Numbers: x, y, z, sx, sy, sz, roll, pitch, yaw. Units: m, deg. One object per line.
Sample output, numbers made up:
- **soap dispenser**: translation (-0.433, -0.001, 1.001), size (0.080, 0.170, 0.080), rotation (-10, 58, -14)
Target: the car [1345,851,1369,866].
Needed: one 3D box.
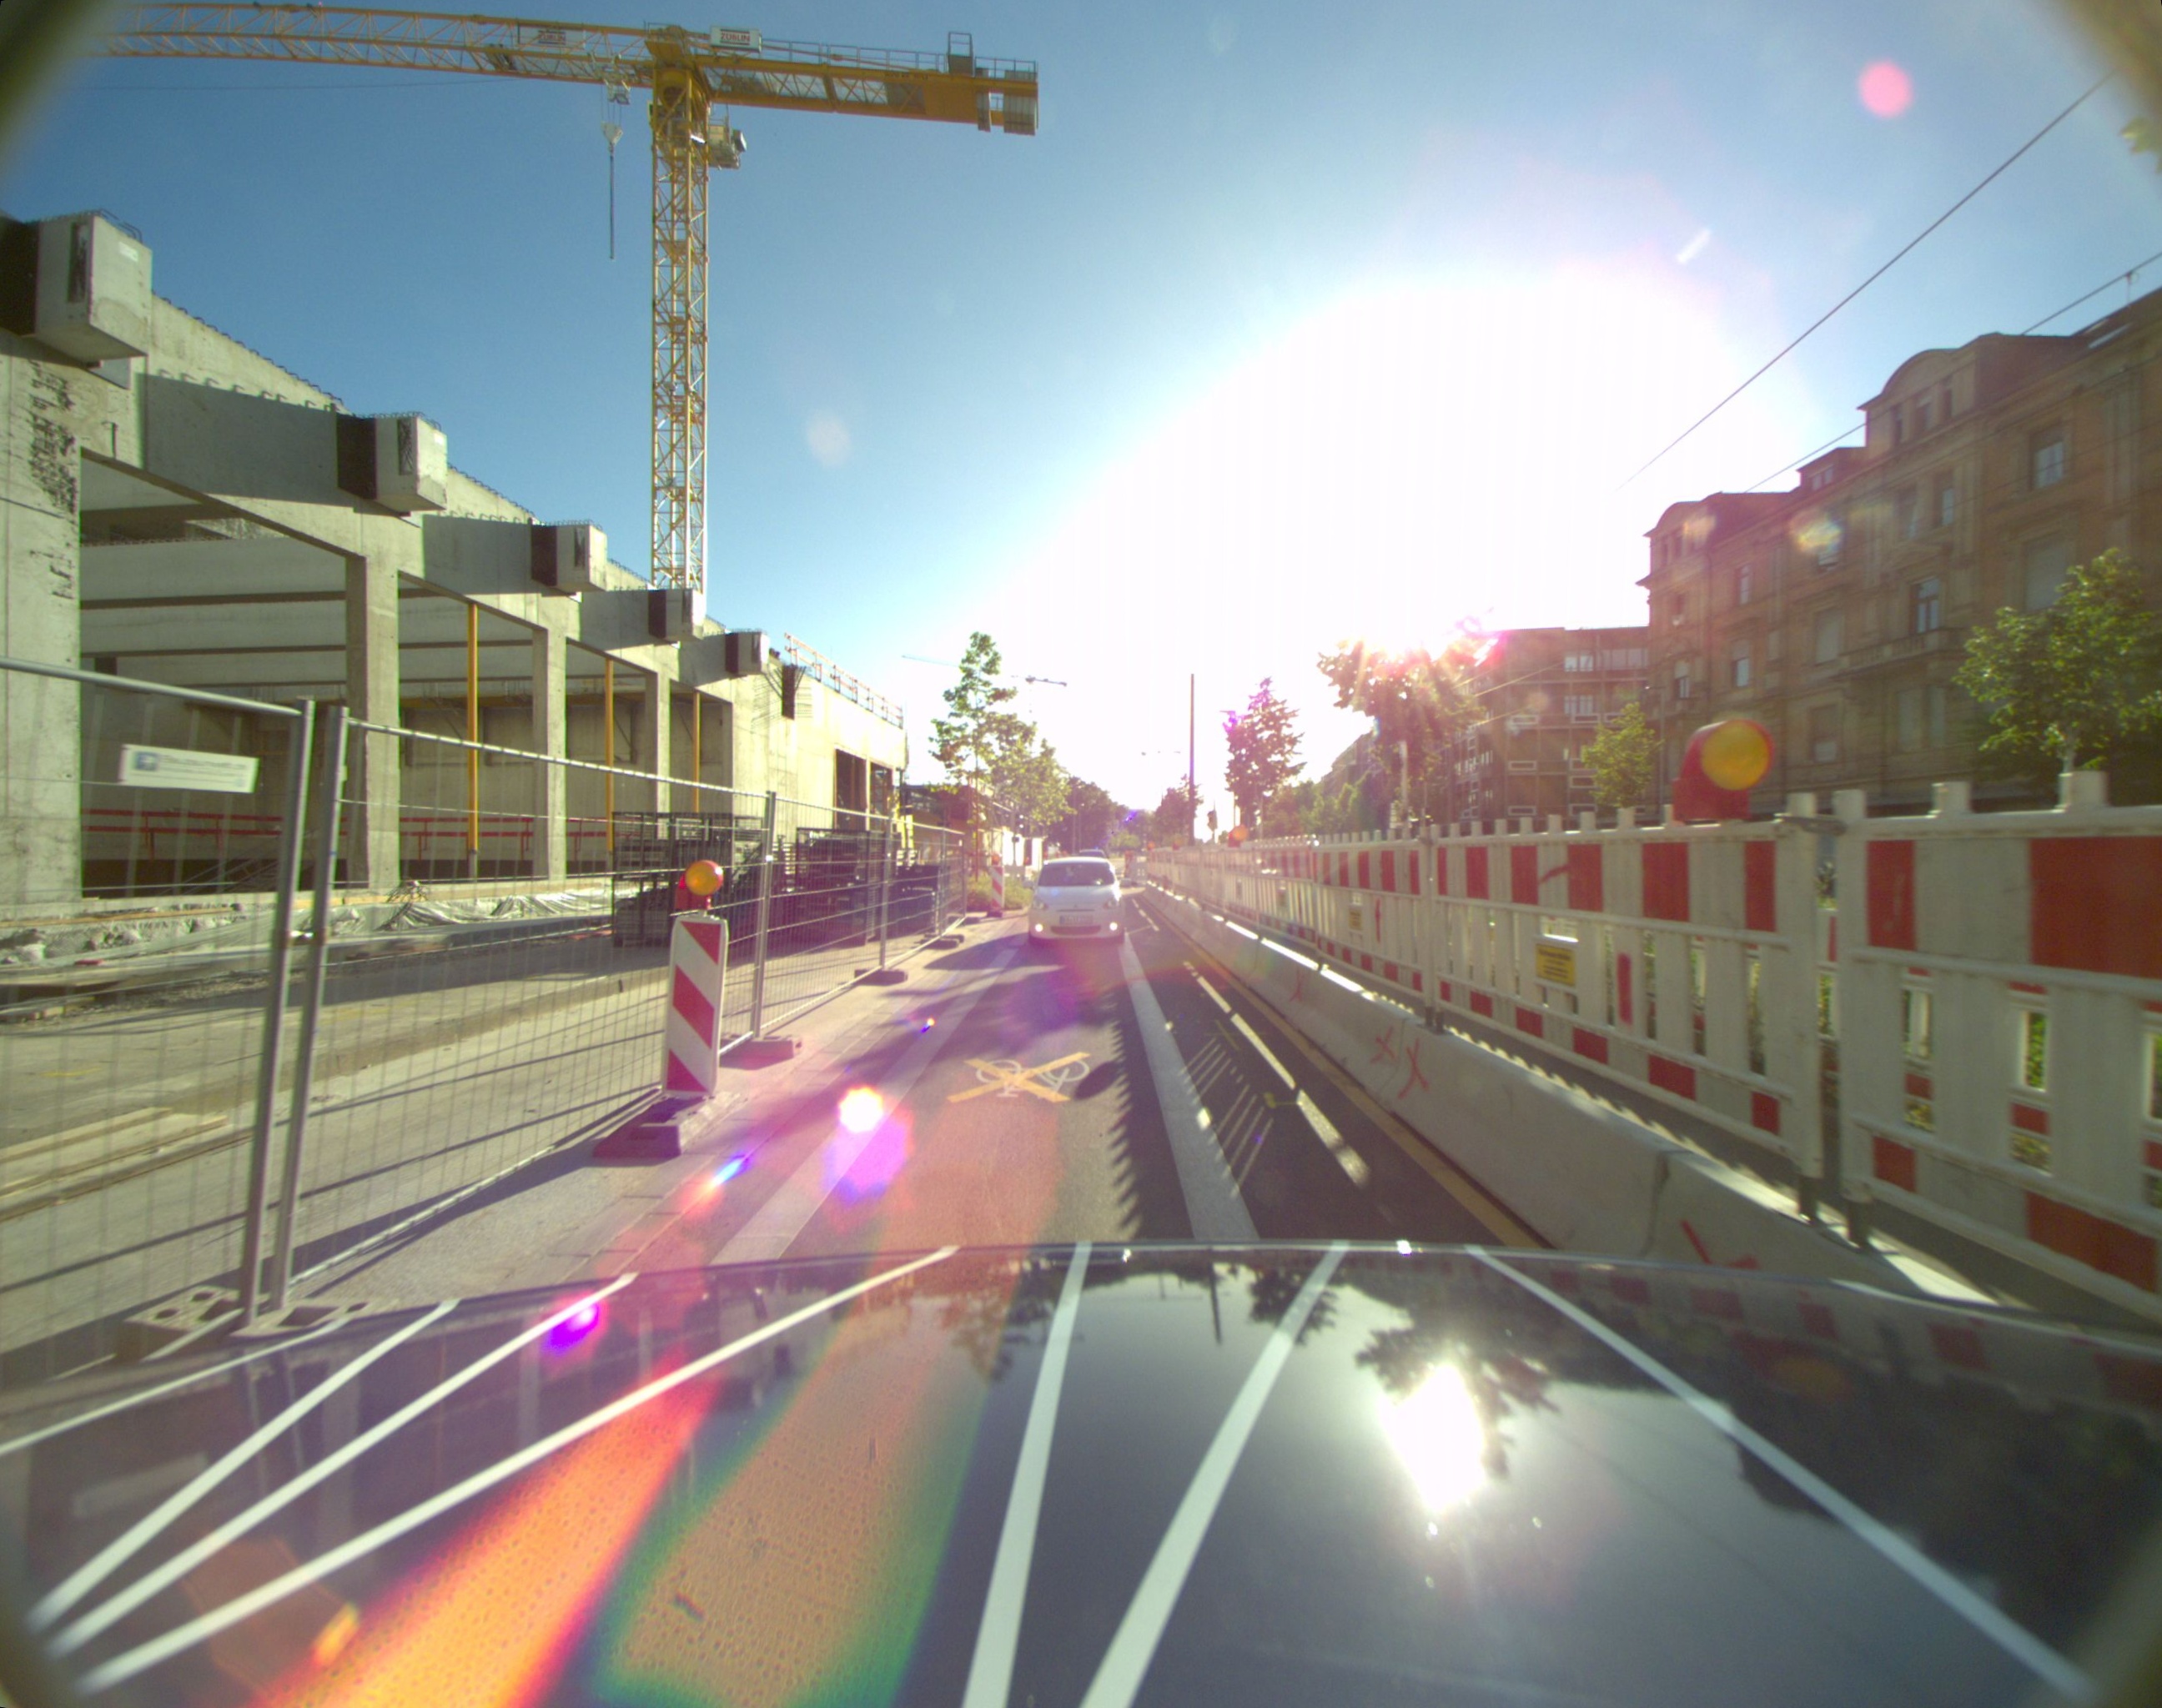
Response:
- **car**: translation (29.077, 0.457, 80.202), size (1.652, 1.545, 3.969), rotation (0, 0, 9)

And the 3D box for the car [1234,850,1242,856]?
- **car**: translation (43.694, -0.296, 211.252), size (1.731, 1.736, 4.123), rotation (0, 0, 7)

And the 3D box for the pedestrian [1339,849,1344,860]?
- **pedestrian**: translation (37.715, 0.123, 109.960), size (0.521, 1.569, 0.537), rotation (1, 1, 13)

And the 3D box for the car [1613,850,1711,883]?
- **car**: translation (34.719, 0.714, 45.464), size (4.522, 1.892, 1.898), rotation (1, 0, -3)

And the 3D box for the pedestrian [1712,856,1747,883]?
- **pedestrian**: translation (29.330, 0.713, 34.376), size (0.793, 1.201, 0.929), rotation (0, 1, 2)

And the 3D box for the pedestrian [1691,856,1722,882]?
- **pedestrian**: translation (29.712, 0.705, 36.114), size (0.692, 1.239, 0.929), rotation (0, 1, 3)

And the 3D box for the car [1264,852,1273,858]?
- **car**: translation (47.017, 0.274, 190.916), size (1.719, 1.379, 4.042), rotation (0, 0, 8)

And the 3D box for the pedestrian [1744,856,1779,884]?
- **pedestrian**: translation (29.773, 0.705, 33.247), size (0.692, 1.201, 0.929), rotation (0, 1, 3)

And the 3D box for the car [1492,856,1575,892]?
- **car**: translation (19.640, 0.828, 33.140), size (1.598, 1.474, 3.624), rotation (0, 0, 3)

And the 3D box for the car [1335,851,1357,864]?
- **car**: translation (29.908, 0.377, 85.789), size (1.627, 1.433, 3.821), rotation (-1, 0, 9)

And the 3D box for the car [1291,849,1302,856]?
- **car**: translation (46.331, -0.304, 163.267), size (1.725, 1.535, 3.634), rotation (-1, 0, 9)

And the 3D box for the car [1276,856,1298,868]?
- **car**: translation (26.091, 0.970, 96.465), size (1.857, 1.412, 4.070), rotation (0, 0, 2)

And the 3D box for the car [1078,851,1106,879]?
- **car**: translation (0.631, 0.612, 41.951), size (1.458, 1.472, 3.528), rotation (0, 0, 1)

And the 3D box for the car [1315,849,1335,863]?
- **car**: translation (30.782, 0.292, 96.085), size (1.754, 1.761, 4.334), rotation (-1, 0, 9)

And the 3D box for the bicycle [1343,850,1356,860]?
- **bicycle**: translation (26.042, 0.106, 73.628), size (0.696, 0.972, 1.827), rotation (0, 0, 2)

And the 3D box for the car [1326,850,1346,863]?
- **car**: translation (30.355, 0.303, 90.546), size (1.741, 1.527, 3.887), rotation (-1, 0, 9)

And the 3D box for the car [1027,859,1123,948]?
- **car**: translation (-0.071, 0.879, 14.934), size (1.614, 1.488, 3.395), rotation (-2, 0, 1)

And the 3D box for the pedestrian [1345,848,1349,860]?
- **pedestrian**: translation (38.428, 0.031, 109.741), size (0.521, 1.712, 0.537), rotation (1, 1, 13)

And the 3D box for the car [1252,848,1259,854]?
- **car**: translation (45.881, -0.764, 199.932), size (1.630, 1.487, 3.782), rotation (1, 0, 9)

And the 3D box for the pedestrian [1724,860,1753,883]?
- **pedestrian**: translation (30.552, 0.798, 35.303), size (0.692, 1.053, 0.736), rotation (0, 1, 2)
